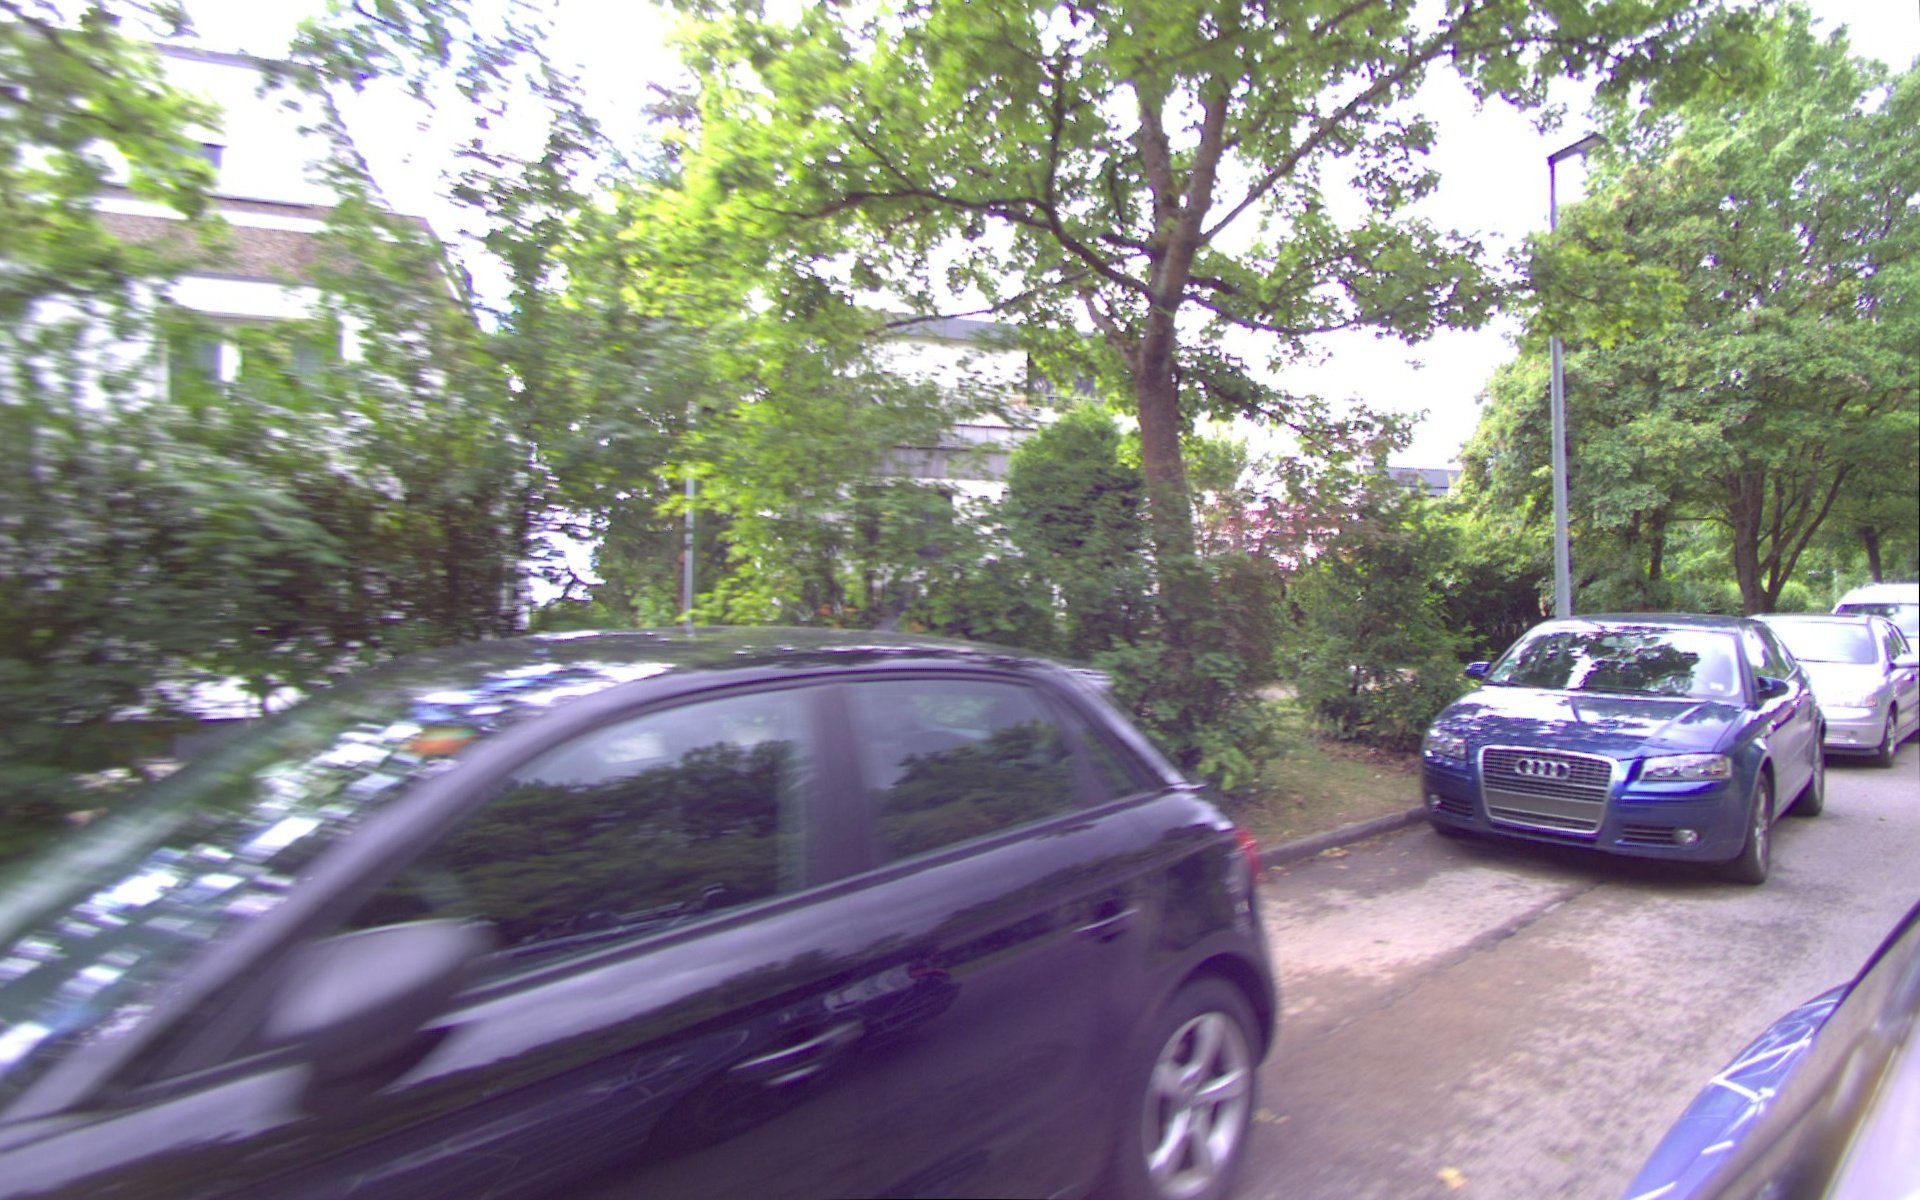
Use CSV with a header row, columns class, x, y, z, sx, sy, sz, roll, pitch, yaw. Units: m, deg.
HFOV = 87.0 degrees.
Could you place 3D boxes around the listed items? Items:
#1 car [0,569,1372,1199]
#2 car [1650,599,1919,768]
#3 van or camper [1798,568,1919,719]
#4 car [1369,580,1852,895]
class,x,y,z,sx,sy,sz,roll,pitch,yaw
car,-0.808,0.716,2.210,3.852,1.471,1.722,0,-1,-44
car,9.122,0.748,10.793,4.167,1.456,1.816,0,-2,-40
van or camper,13.405,0.498,14.143,4.244,1.861,1.805,-2,0,-39
car,4.718,0.657,7.024,4.405,1.493,1.848,0,-1,-44
